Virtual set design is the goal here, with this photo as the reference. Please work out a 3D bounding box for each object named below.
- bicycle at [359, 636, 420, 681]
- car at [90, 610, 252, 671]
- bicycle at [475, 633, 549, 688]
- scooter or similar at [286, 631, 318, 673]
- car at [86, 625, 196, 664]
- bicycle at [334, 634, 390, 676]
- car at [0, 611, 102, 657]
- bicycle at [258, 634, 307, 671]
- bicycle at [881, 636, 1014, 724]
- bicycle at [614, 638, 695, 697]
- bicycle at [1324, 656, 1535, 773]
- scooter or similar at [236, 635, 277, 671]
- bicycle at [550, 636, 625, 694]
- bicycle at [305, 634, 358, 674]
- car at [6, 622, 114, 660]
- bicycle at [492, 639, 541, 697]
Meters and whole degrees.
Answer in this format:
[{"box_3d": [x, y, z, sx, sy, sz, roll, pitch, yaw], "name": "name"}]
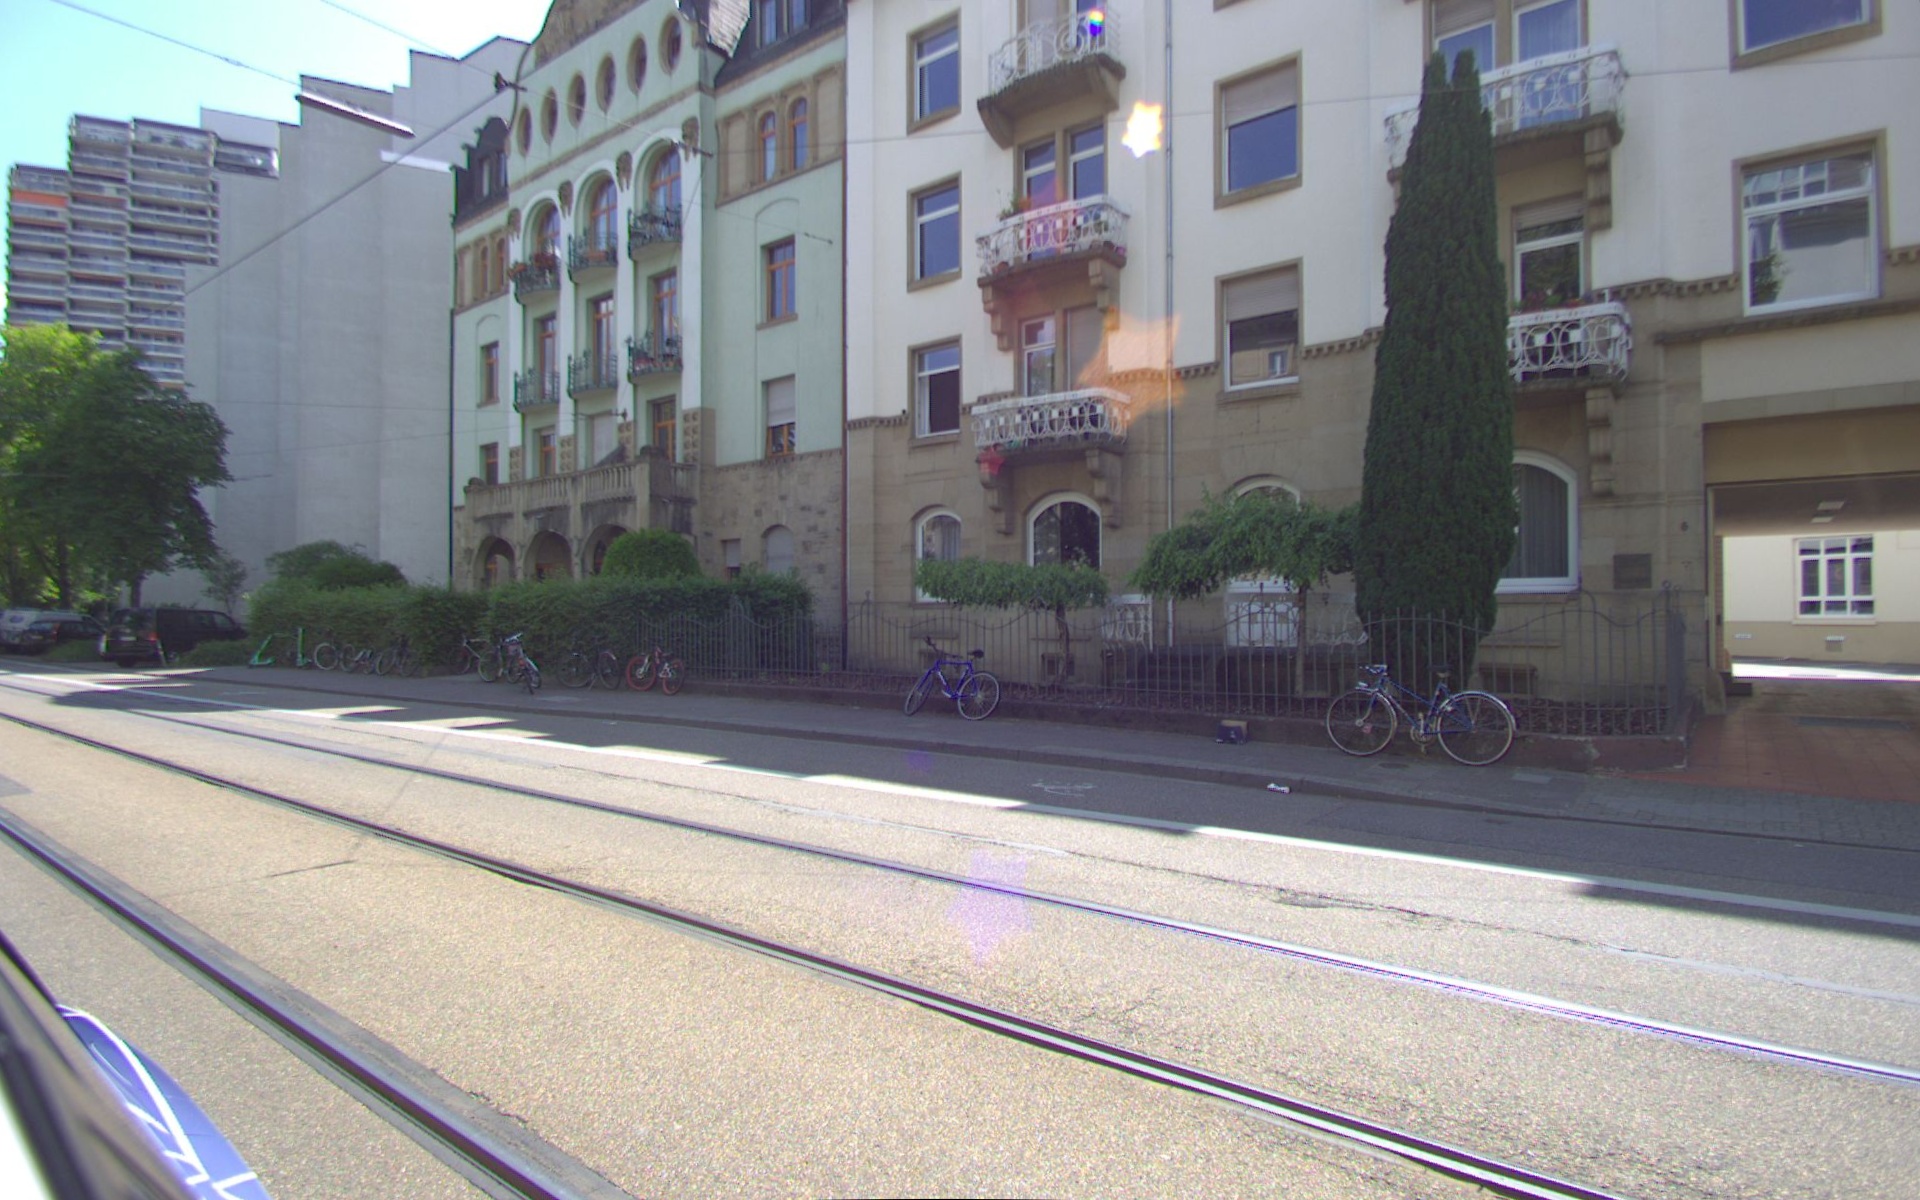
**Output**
[{"box_3d": [-13.680, 1.384, 24.266, 1.769, 0.983, 0.602, -2, 2, 38], "name": "bicycle"}, {"box_3d": [-26.924, 1.360, 34.772, 1.935, 1.940, 4.585, 0, -1, 1], "name": "car"}, {"box_3d": [-9.262, 1.225, 20.908, 1.769, 1.040, 0.602, -2, 2, 38], "name": "bicycle"}, {"box_3d": [-18.145, 1.423, 27.898, 1.290, 1.128, 0.401, -1, -1, 40], "name": "scooter or similar"}, {"box_3d": [-31.800, 1.693, 39.424, 1.699, 1.465, 3.633, 0, -1, -8], "name": "car"}, {"box_3d": [-15.098, 1.367, 25.526, 1.705, 0.996, 0.602, -2, 2, 38], "name": "bicycle"}, {"box_3d": [-42.345, 1.569, 47.052, 1.579, 2.058, 4.055, 0, -1, -2], "name": "car"}, {"box_3d": [-19.371, 1.490, 28.929, 1.705, 0.996, 0.602, -2, 2, 38], "name": "bicycle"}, {"box_3d": [-0.182, 1.044, 13.655, 1.769, 1.072, 0.602, -2, 2, 38], "name": "bicycle"}, {"box_3d": [-5.412, 1.172, 17.880, 1.723, 0.973, 0.409, -1, 2, 38], "name": "bicycle"}, {"box_3d": [4.584, 1.083, 9.966, 1.839, 0.968, 0.406, 0, 2, 38], "name": "bicycle"}, {"box_3d": [-20.839, 1.560, 29.982, 1.216, 1.028, 0.404, -1, -2, 23], "name": "scooter or similar"}, {"box_3d": [-6.971, 1.197, 18.902, 1.706, 1.006, 0.460, -1, 2, 39], "name": "bicycle"}, {"box_3d": [-16.680, 1.420, 26.838, 1.705, 0.996, 0.602, -2, 2, 38], "name": "bicycle"}, {"box_3d": [-39.715, 1.776, 44.767, 1.657, 1.587, 3.688, 1, -1, -5], "name": "car"}, {"box_3d": [-8.229, 1.236, 18.838, 0.599, 1.007, 1.780, 0, -1, -16], "name": "bicycle"}]
